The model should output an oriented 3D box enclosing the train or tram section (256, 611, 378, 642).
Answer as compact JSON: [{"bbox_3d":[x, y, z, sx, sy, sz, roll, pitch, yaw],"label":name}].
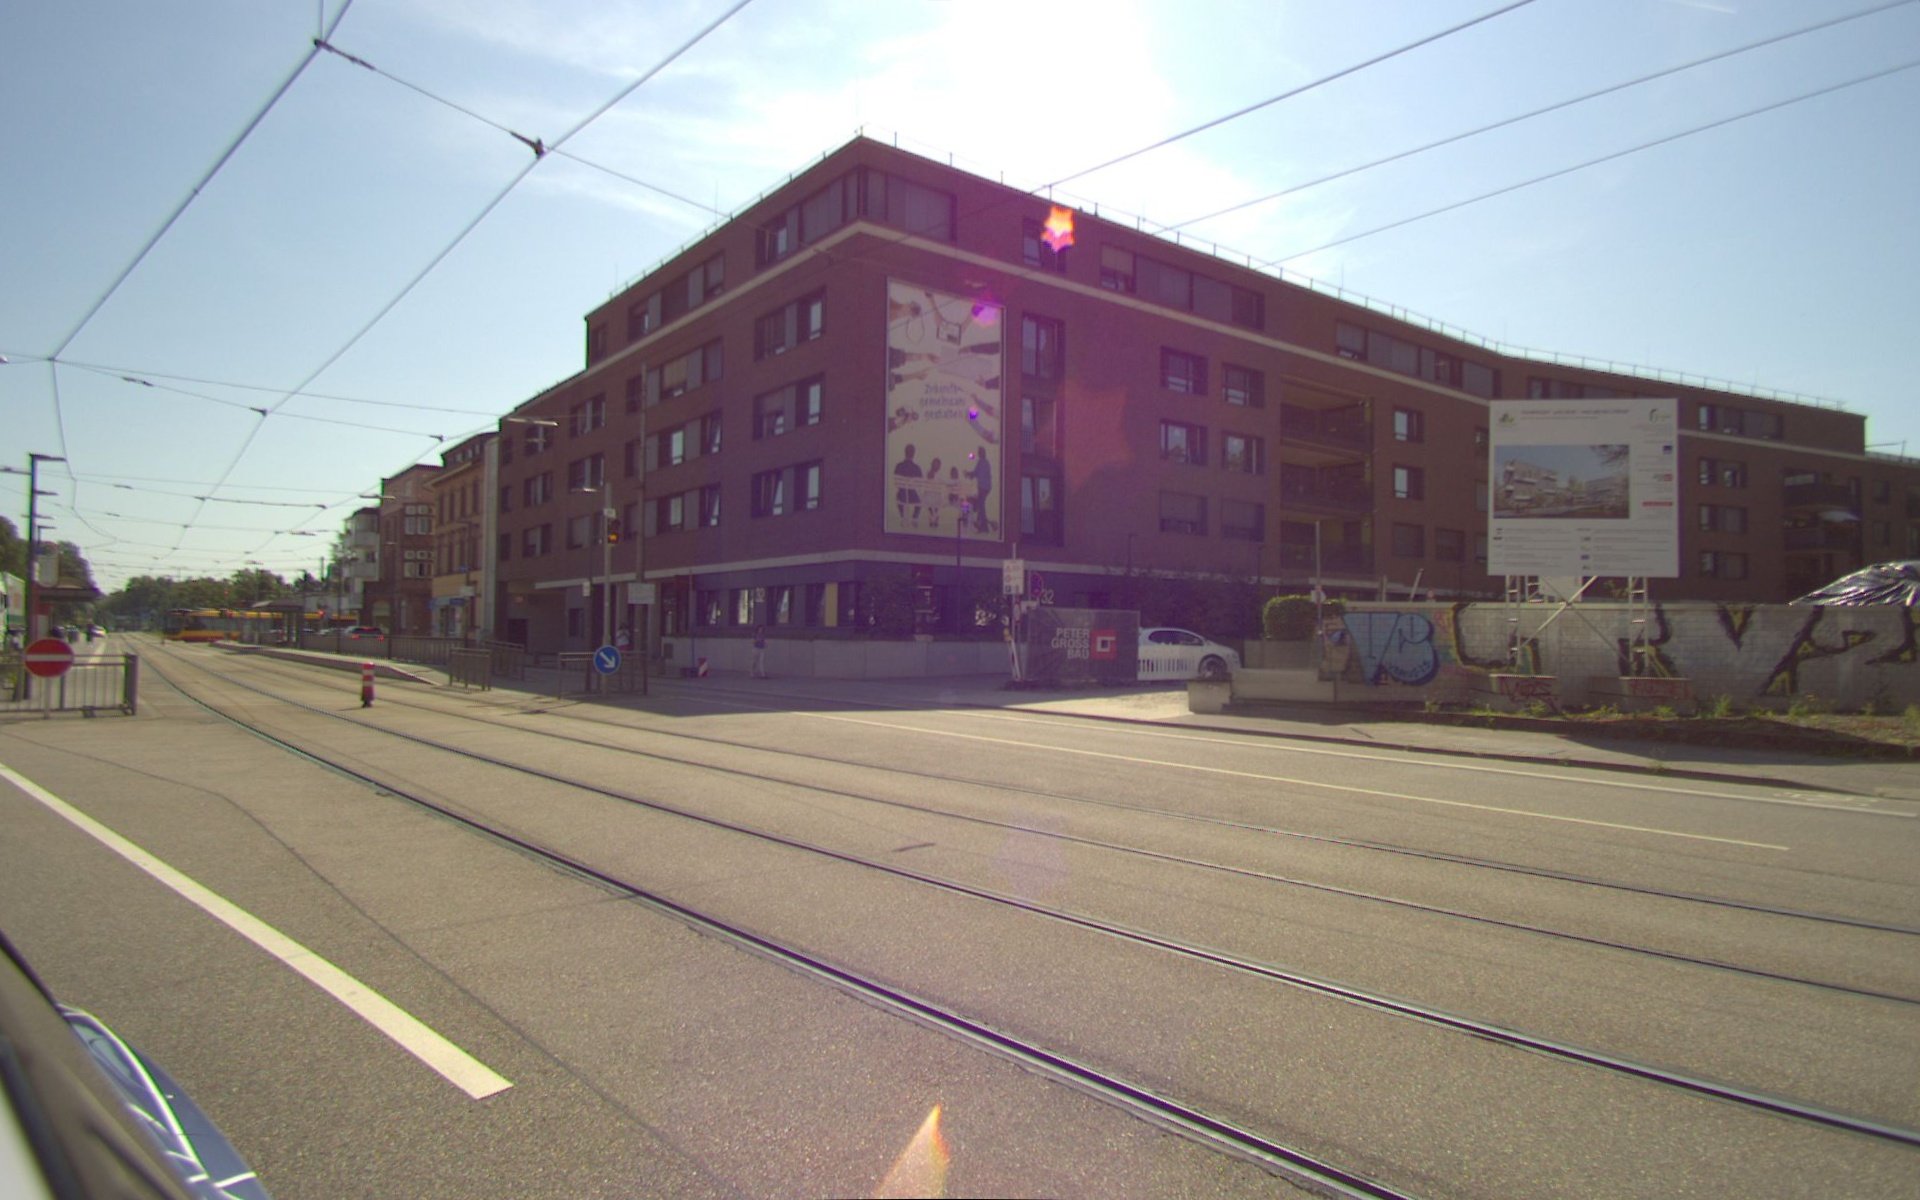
[{"bbox_3d":[-77.252,3.305,122.087,2.672,3.507,13.232,-1,-2,23],"label":"train or tram section"}]

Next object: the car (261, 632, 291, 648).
[{"bbox_3d":[-58.932,3.443,87.205,1.691,1.253,4.085,0,-1,-41],"label":"car"}]

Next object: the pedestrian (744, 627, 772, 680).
[{"bbox_3d":[-6.572,1.735,32.917,0.574,1.677,0.700,3,-3,-42],"label":"pedestrian"}]

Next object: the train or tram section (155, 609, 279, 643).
[{"bbox_3d":[-80.231,2.894,109.854,2.655,3.507,13.314,0,-2,5],"label":"train or tram section"}]

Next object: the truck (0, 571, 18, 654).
[{"bbox_3d":[-47.346,0.646,48.542,2.617,3.823,7.876,2,-3,-40],"label":"truck"}]

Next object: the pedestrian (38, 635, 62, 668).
[{"bbox_3d":[-35.793,2.017,39.812,0.621,1.264,0.710,3,-4,-41],"label":"pedestrian"}]

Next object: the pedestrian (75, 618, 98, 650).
[{"bbox_3d":[-52.319,2.062,60.633,0.968,1.873,1.239,2,-3,-40],"label":"pedestrian"}]

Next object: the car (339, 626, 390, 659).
[{"bbox_3d":[-33.521,2.374,56.935,1.778,1.742,4.195,0,-2,-40],"label":"car"}]

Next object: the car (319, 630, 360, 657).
[{"bbox_3d":[-39.051,2.700,63.688,1.690,1.635,3.584,1,-2,-40],"label":"car"}]

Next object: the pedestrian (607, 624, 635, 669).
[{"bbox_3d":[-14.031,1.922,41.865,0.834,1.833,0.840,2,-3,-40],"label":"pedestrian"}]

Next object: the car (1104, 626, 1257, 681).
[{"bbox_3d":[6.384,1.529,29.522,3.936,1.434,1.805,-1,-1,-8],"label":"car"}]
